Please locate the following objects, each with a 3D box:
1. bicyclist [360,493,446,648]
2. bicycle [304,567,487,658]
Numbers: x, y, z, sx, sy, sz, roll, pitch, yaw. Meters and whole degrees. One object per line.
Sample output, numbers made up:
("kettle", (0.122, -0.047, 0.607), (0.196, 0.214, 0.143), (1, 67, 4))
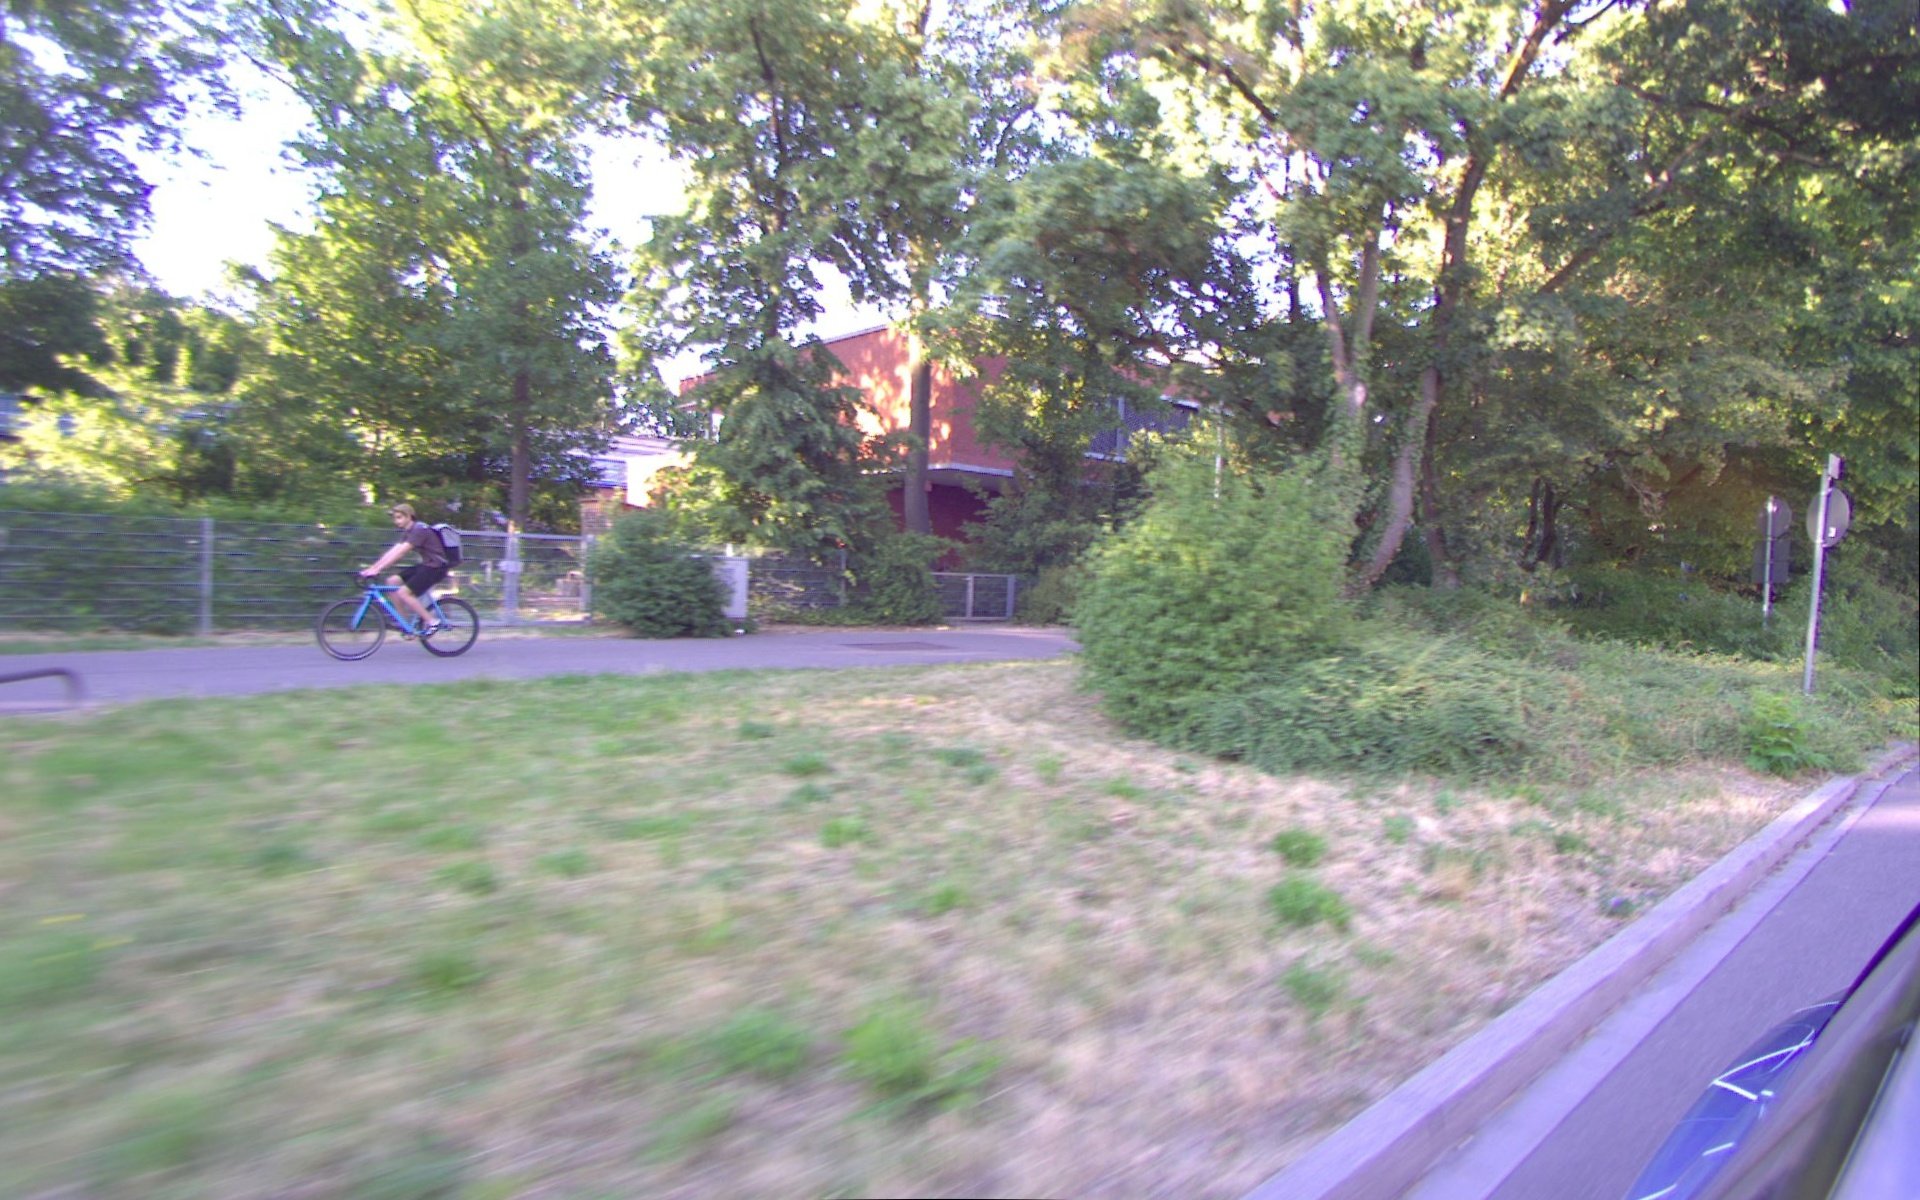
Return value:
("bicyclist", (-6.223, -0.325, 11.306), (0.712, 1.665, 0.533), (1, 2, -42))
("bicycle", (-6.268, 0.131, 11.295), (1.693, 0.929, 0.533), (0, 3, -43))
